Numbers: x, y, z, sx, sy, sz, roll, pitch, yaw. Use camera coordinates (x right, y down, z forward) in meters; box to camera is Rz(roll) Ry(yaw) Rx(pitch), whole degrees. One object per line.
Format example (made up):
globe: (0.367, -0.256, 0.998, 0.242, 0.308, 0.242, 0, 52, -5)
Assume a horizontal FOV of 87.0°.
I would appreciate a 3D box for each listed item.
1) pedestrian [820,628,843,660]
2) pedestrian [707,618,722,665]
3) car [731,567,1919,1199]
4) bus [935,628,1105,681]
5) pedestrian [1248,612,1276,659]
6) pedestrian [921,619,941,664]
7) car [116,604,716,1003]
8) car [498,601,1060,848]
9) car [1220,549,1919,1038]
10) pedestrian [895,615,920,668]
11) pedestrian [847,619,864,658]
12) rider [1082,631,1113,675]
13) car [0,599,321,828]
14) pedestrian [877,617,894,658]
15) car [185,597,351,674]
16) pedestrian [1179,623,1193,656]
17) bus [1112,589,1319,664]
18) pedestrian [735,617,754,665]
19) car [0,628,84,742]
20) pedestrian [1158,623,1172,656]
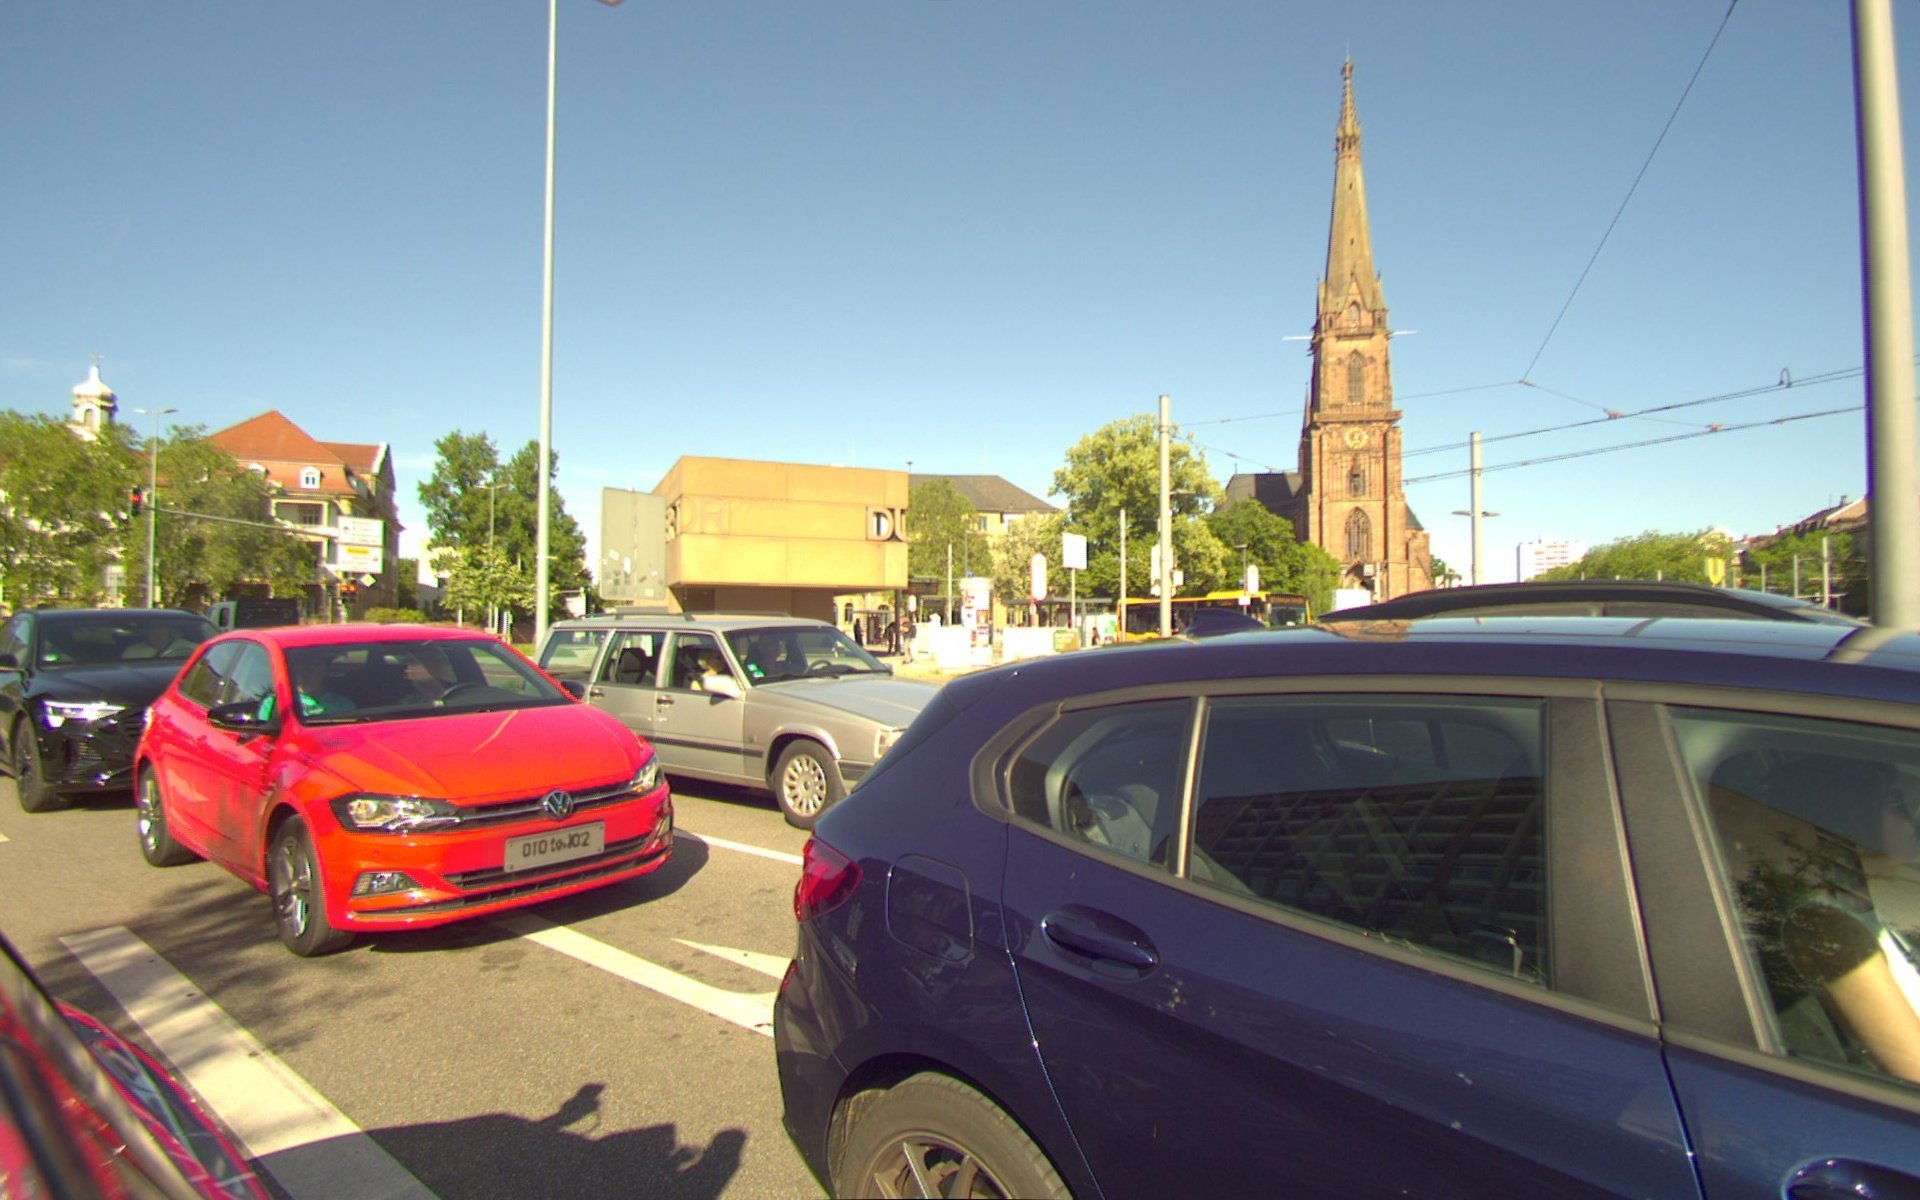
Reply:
pedestrian: (-5.483, 1.864, 43.170, 0.635, 1.320, 0.764, 1, -2, -40)
pedestrian: (-9.349, 1.567, 38.564, 0.460, 1.789, 0.648, 0, -2, -21)
car: (1.594, 0.692, 1.376, 4.030, 1.456, 1.692, -1, -1, 42)
bus: (1.506, 1.365, 26.146, 4.174, 1.251, 1.627, -1, -2, 35)
pedestrian: (12.240, 1.436, 40.995, 0.882, 1.869, 0.679, -2, -3, 41)
pedestrian: (-1.180, 1.668, 41.059, 0.634, 1.789, 0.470, 1, -2, -29)
car: (-3.228, 0.803, 5.668, 3.850, 1.484, 1.653, -2, -1, 40)
car: (-1.674, 0.817, 8.211, 4.743, 1.484, 1.693, -2, -1, 37)
car: (3.296, 0.621, 4.095, 4.010, 1.529, 1.738, -2, -2, 44)
pedestrian: (-1.810, 1.412, 34.962, 0.661, 1.802, 0.643, -1, -1, 15)
pedestrian: (-4.825, 1.762, 46.640, 0.468, 1.789, 0.638, -2, -2, 36)
rider: (4.739, 1.814, 34.872, 0.846, 1.475, 0.672, 0, -2, -17)
car: (-7.803, 0.872, 9.310, 4.446, 1.628, 1.836, -1, -2, 38)
pedestrian: (-3.291, 1.658, 44.891, 0.468, 1.789, 0.638, -2, -2, 36)
car: (-22.665, 1.148, 33.063, 6.191, 2.331, 2.095, -1, -2, 31)
pedestrian: (10.547, 1.822, 47.179, 0.555, 1.525, 0.527, -1, -1, 8)
bus: (11.637, 1.302, 48.116, 2.715, 3.088, 12.201, 1, -2, -23)
pedestrian: (-8.103, 1.524, 38.091, 0.635, 1.789, 0.618, 0, -2, -8)
car: (-13.650, 1.125, 13.917, 3.704, 1.429, 1.557, -1, -1, 35)
pedestrian: (9.574, 1.838, 47.304, 0.564, 1.525, 0.527, -1, -1, 8)
